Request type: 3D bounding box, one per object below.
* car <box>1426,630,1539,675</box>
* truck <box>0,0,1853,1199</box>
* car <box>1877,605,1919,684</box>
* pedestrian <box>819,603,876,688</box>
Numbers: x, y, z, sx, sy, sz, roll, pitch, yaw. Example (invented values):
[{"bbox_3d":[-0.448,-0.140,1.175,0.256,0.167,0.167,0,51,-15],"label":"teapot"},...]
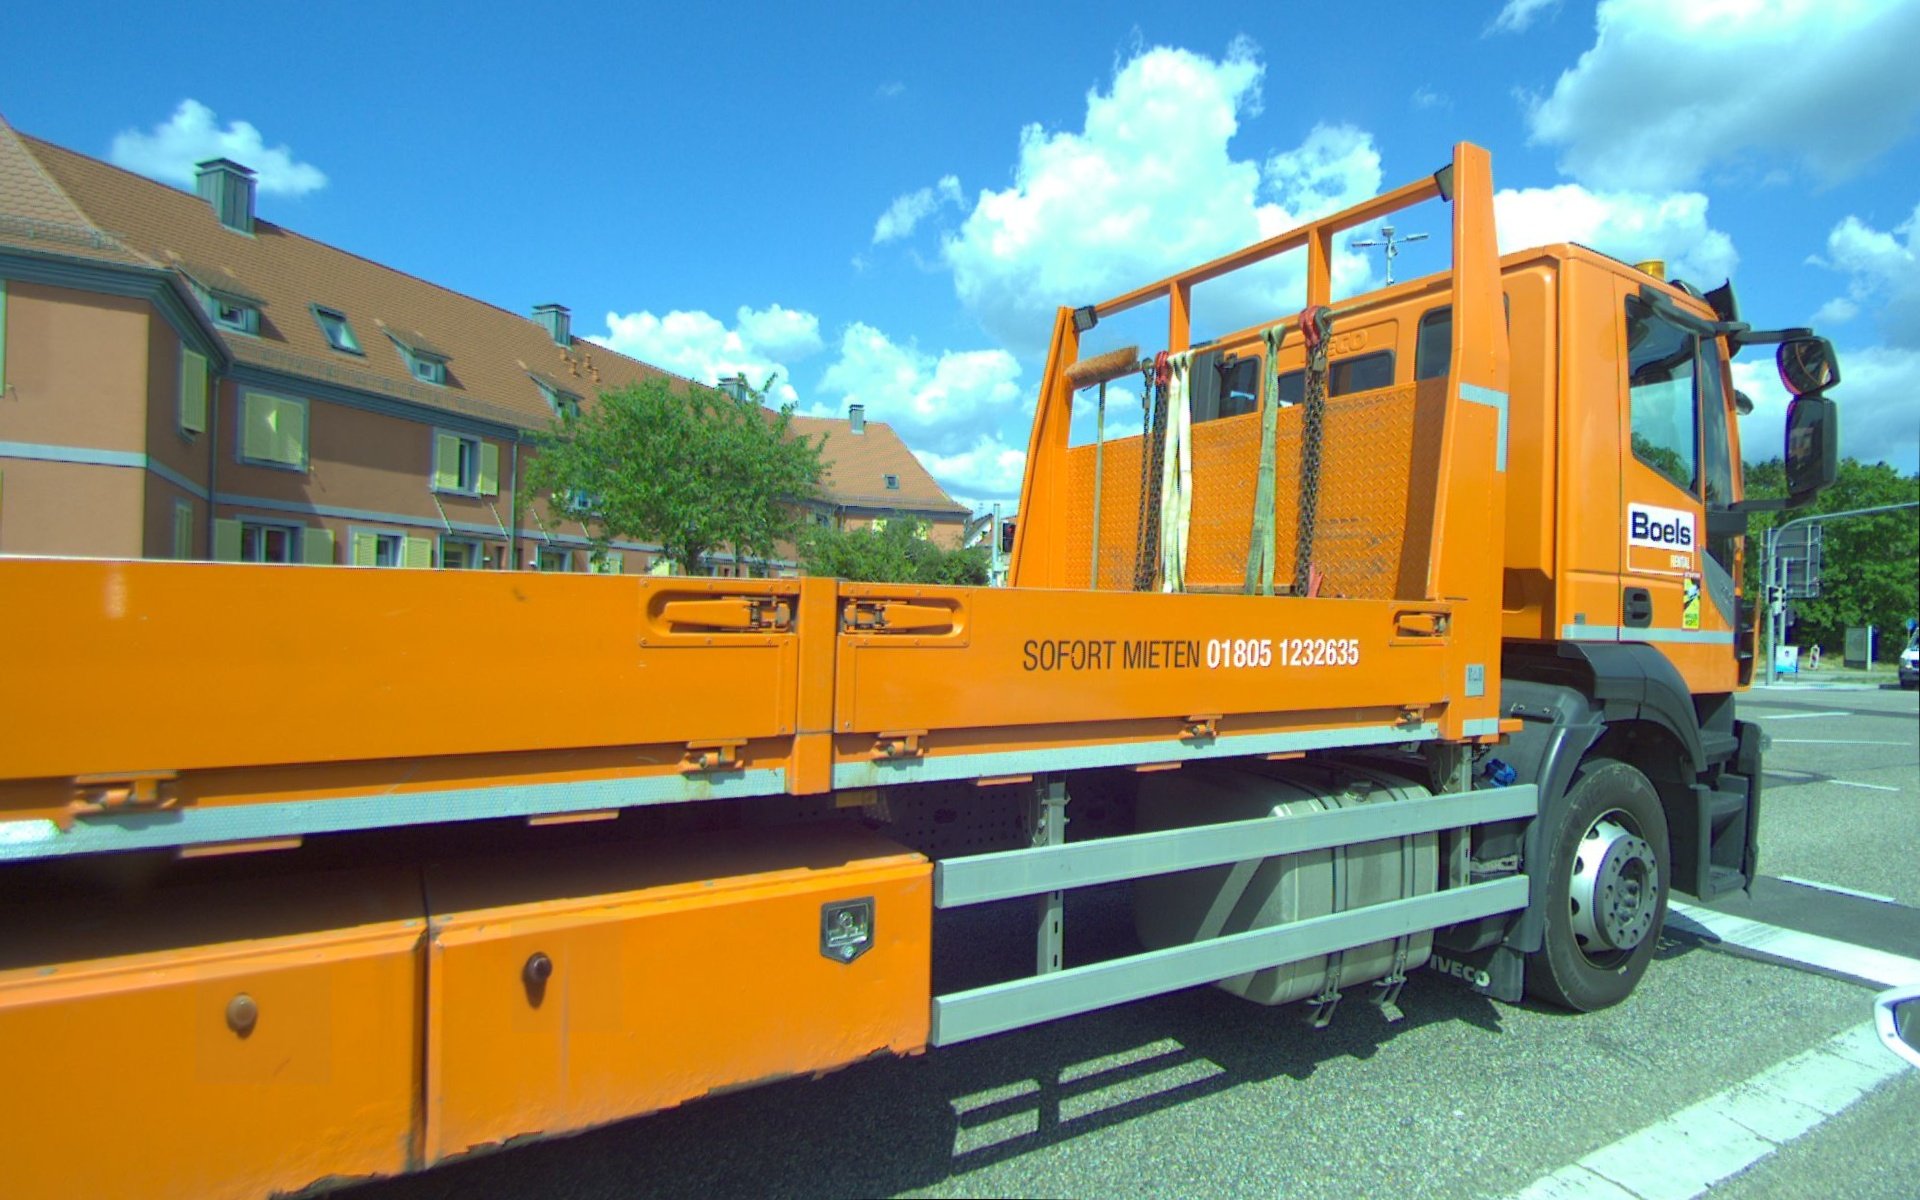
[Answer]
[{"bbox_3d":[21.848,2.171,42.163,3.922,1.550,2.000,3,1,21],"label":"car"},{"bbox_3d":[-1.654,-0.378,2.739,10.946,3.459,3.054,3,1,-32],"label":"truck"},{"bbox_3d":[33.403,1.570,33.450,5.889,2.504,2.166,3,1,-26],"label":"car"},{"bbox_3d":[-2.212,0.884,19.796,0.842,1.604,0.692,2,1,-32],"label":"pedestrian"}]
